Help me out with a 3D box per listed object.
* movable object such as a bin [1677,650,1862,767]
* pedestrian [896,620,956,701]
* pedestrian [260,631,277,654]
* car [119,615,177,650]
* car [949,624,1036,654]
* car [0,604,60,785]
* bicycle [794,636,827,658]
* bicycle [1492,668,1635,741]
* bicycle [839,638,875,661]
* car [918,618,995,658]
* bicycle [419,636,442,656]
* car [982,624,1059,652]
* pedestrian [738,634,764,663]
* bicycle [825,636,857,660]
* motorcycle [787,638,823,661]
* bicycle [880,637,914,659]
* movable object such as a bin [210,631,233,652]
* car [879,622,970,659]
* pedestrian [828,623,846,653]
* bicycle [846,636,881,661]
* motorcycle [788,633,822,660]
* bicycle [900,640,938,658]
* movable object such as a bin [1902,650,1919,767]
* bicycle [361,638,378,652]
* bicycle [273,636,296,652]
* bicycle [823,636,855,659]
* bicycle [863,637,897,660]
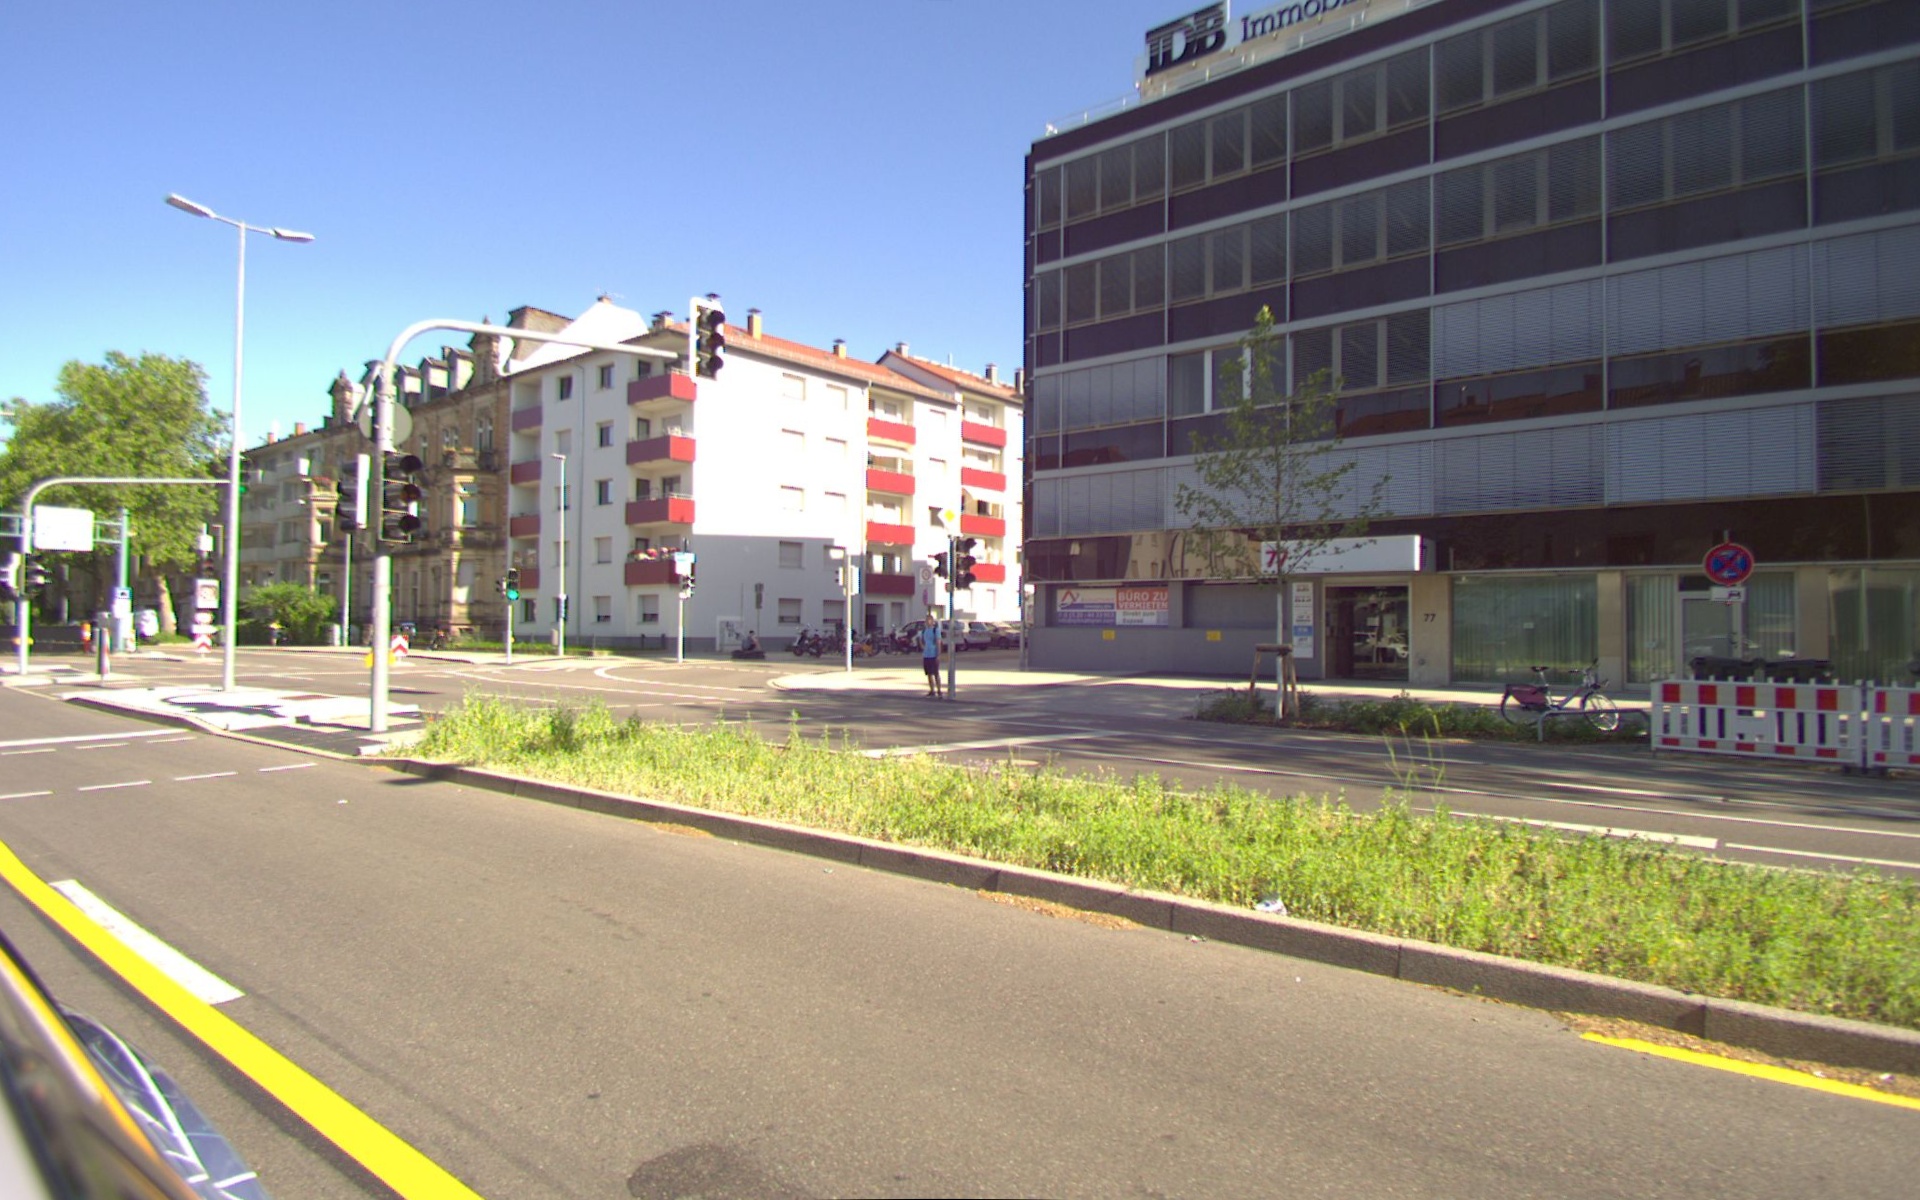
[{"bbox_3d":[10.813,1.397,13.578,1.854,1.399,1.103,-1,-2,40],"label":"movable object such as a bin"},{"bbox_3d":[-0.753,1.301,22.138,0.855,1.724,1.013,2,-3,-45],"label":"pedestrian"},{"bbox_3d":[-43.021,2.651,62.966,1.088,1.388,0.561,-2,-3,37],"label":"pedestrian"},{"bbox_3d":[-61.241,2.476,76.295,5.281,2.465,2.222,-3,-5,39],"label":"car"},{"bbox_3d":[1.666,2.053,53.756,4.572,1.541,1.741,-2,-2,41],"label":"car"},{"bbox_3d":[-10.544,0.891,10.185,3.687,1.670,1.722,-1,-2,40],"label":"car"},{"bbox_3d":[-6.842,2.138,46.236,1.736,0.976,0.568,-2,-2,43],"label":"bicycle"},{"bbox_3d":[9.587,1.635,16.122,1.877,1.045,0.620,-1,-2,40],"label":"bicycle"},{"bbox_3d":[-4.501,2.130,43.995,0.471,0.955,1.953,2,-2,-43],"label":"bicycle"},{"bbox_3d":[-0.181,1.900,51.626,3.791,1.970,1.679,-1,-2,41],"label":"car"},{"bbox_3d":[-26.826,2.315,51.260,1.937,0.965,0.301,-2,-3,39],"label":"bicycle"},{"bbox_3d":[3.309,2.078,55.999,3.998,1.473,1.824,-2,-2,41],"label":"car"},{"bbox_3d":[-8.385,1.939,40.606,0.784,1.162,0.713,-1,-2,26],"label":"pedestrian"},{"bbox_3d":[-5.161,2.066,43.810,0.500,0.985,1.889,1,-2,-35],"label":"bicycle"},{"bbox_3d":[-6.573,2.085,42.855,0.497,0.943,1.843,2,-2,-44],"label":"motorcycle"},{"bbox_3d":[-2.880,2.199,46.276,1.722,0.955,0.453,-1,-2,40],"label":"bicycle"},{"bbox_3d":[-50.241,2.805,68.860,1.472,1.371,0.884,-3,-5,39],"label":"movable object such as a bin"},{"bbox_3d":[-1.794,1.957,50.028,4.481,1.744,1.971,-2,-2,45],"label":"car"},{"bbox_3d":[-6.127,1.892,50.351,0.694,1.508,0.593,-2,-2,41],"label":"pedestrian"},{"bbox_3d":[-4.291,2.140,44.992,1.735,1.077,0.483,-2,-2,41],"label":"bicycle"},{"bbox_3d":[-6.820,2.015,44.434,0.604,1.150,1.785,1,-2,-43],"label":"motorcycle"},{"bbox_3d":[-1.903,2.250,46.820,1.707,0.820,0.412,0,-2,15],"label":"bicycle"},{"bbox_3d":[12.696,1.325,12.201,1.854,1.399,1.202,-1,-2,40],"label":"movable object such as a bin"},{"bbox_3d":[-32.601,2.476,55.875,1.412,0.777,0.296,-2,-3,39],"label":"bicycle"},{"bbox_3d":[-42.244,2.758,63.294,2.246,1.013,0.463,-2,-1,37],"label":"bicycle"},{"bbox_3d":[-5.696,2.226,47.694,1.690,1.066,0.568,-2,-2,43],"label":"bicycle"},{"bbox_3d":[-3.643,2.169,45.832,1.736,1.011,0.503,-2,-2,43],"label":"bicycle"}]
